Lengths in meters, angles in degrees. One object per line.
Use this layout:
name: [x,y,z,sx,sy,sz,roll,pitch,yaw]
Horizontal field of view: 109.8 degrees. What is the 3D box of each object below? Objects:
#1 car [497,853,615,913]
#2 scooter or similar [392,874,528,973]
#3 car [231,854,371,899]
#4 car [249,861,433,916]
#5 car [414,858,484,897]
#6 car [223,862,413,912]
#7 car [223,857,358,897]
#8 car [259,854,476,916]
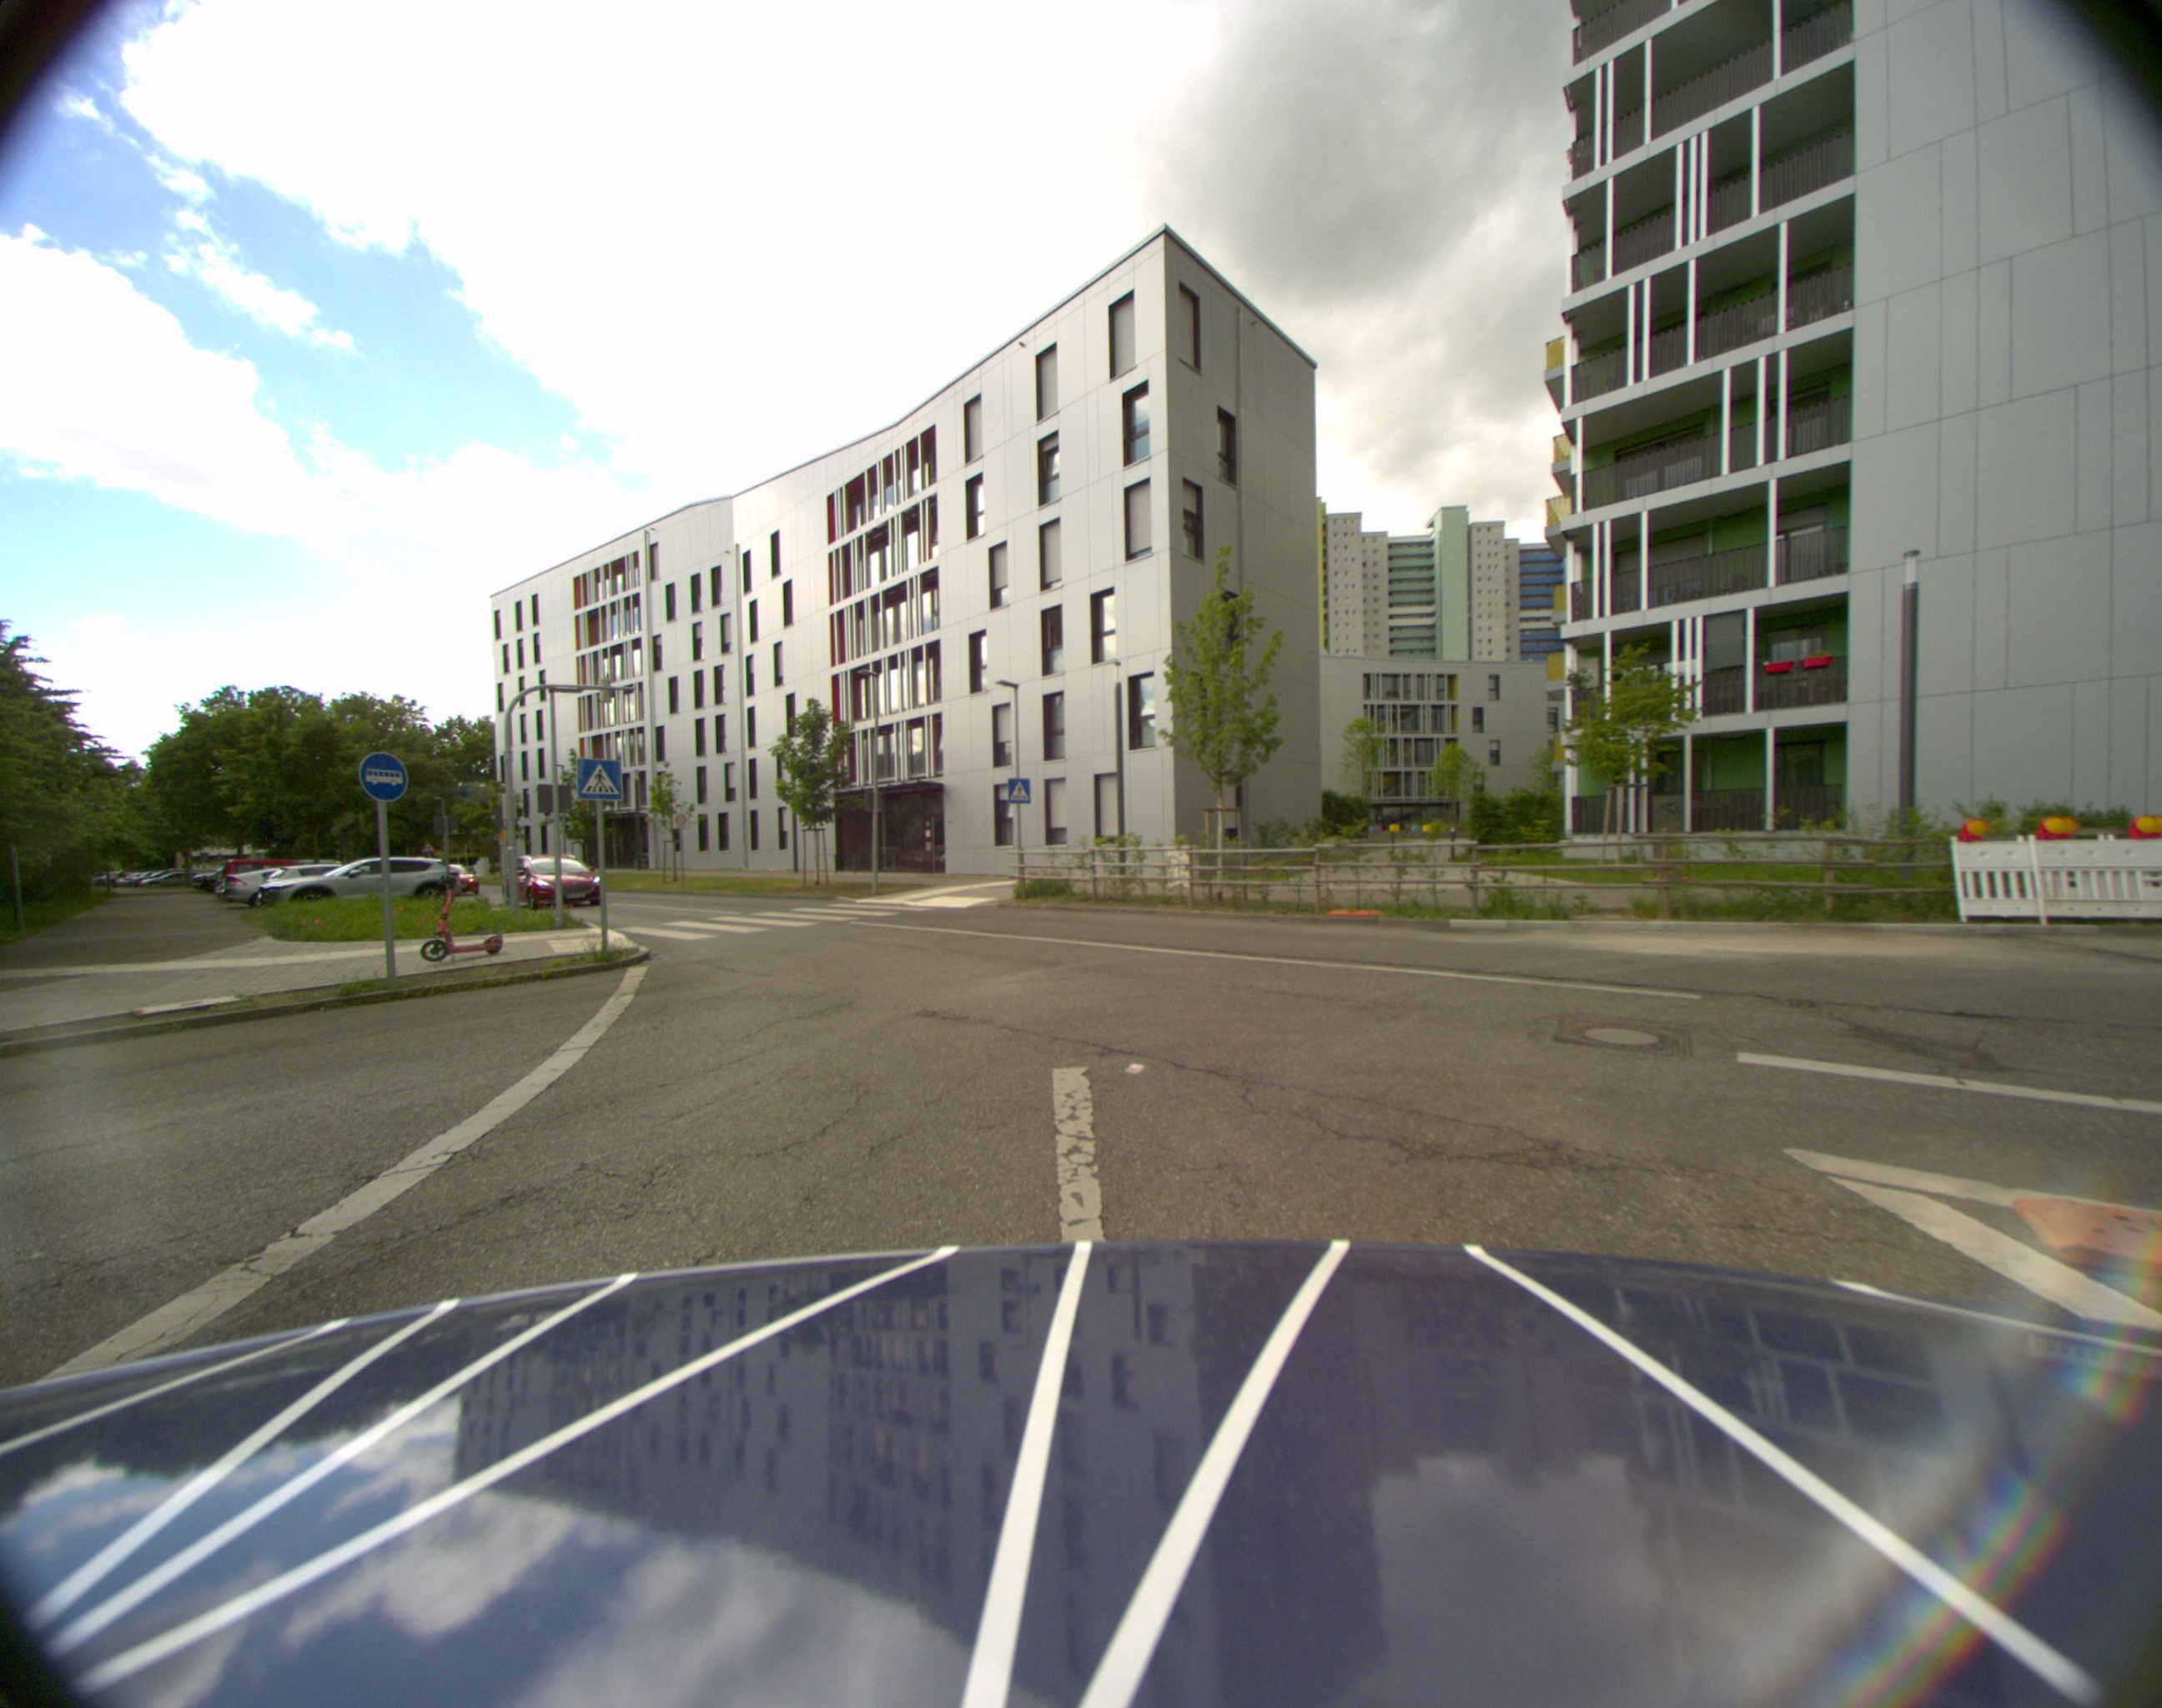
car: [-16.711,0.858,24.125,4.230,1.623,1.938,0,4,40]
scooter or similar: [-9.269,0.994,11.418,0.571,1.306,1.526,-2,2,9]
car: [-36.036,1.003,35.210,1.832,1.881,4.303,-1,1,39]
car: [-24.651,1.080,25.455,1.791,1.577,4.177,-1,1,39]
car: [-29.088,1.049,34.934,3.988,1.609,1.822,0,3,41]
car: [-26.683,1.081,26.723,1.906,1.553,4.501,-1,0,39]
car: [-40.141,1.132,38.691,1.879,1.888,4.575,-1,0,39]
car: [-22.280,0.902,23.931,2.064,1.742,4.673,-1,-1,37]
